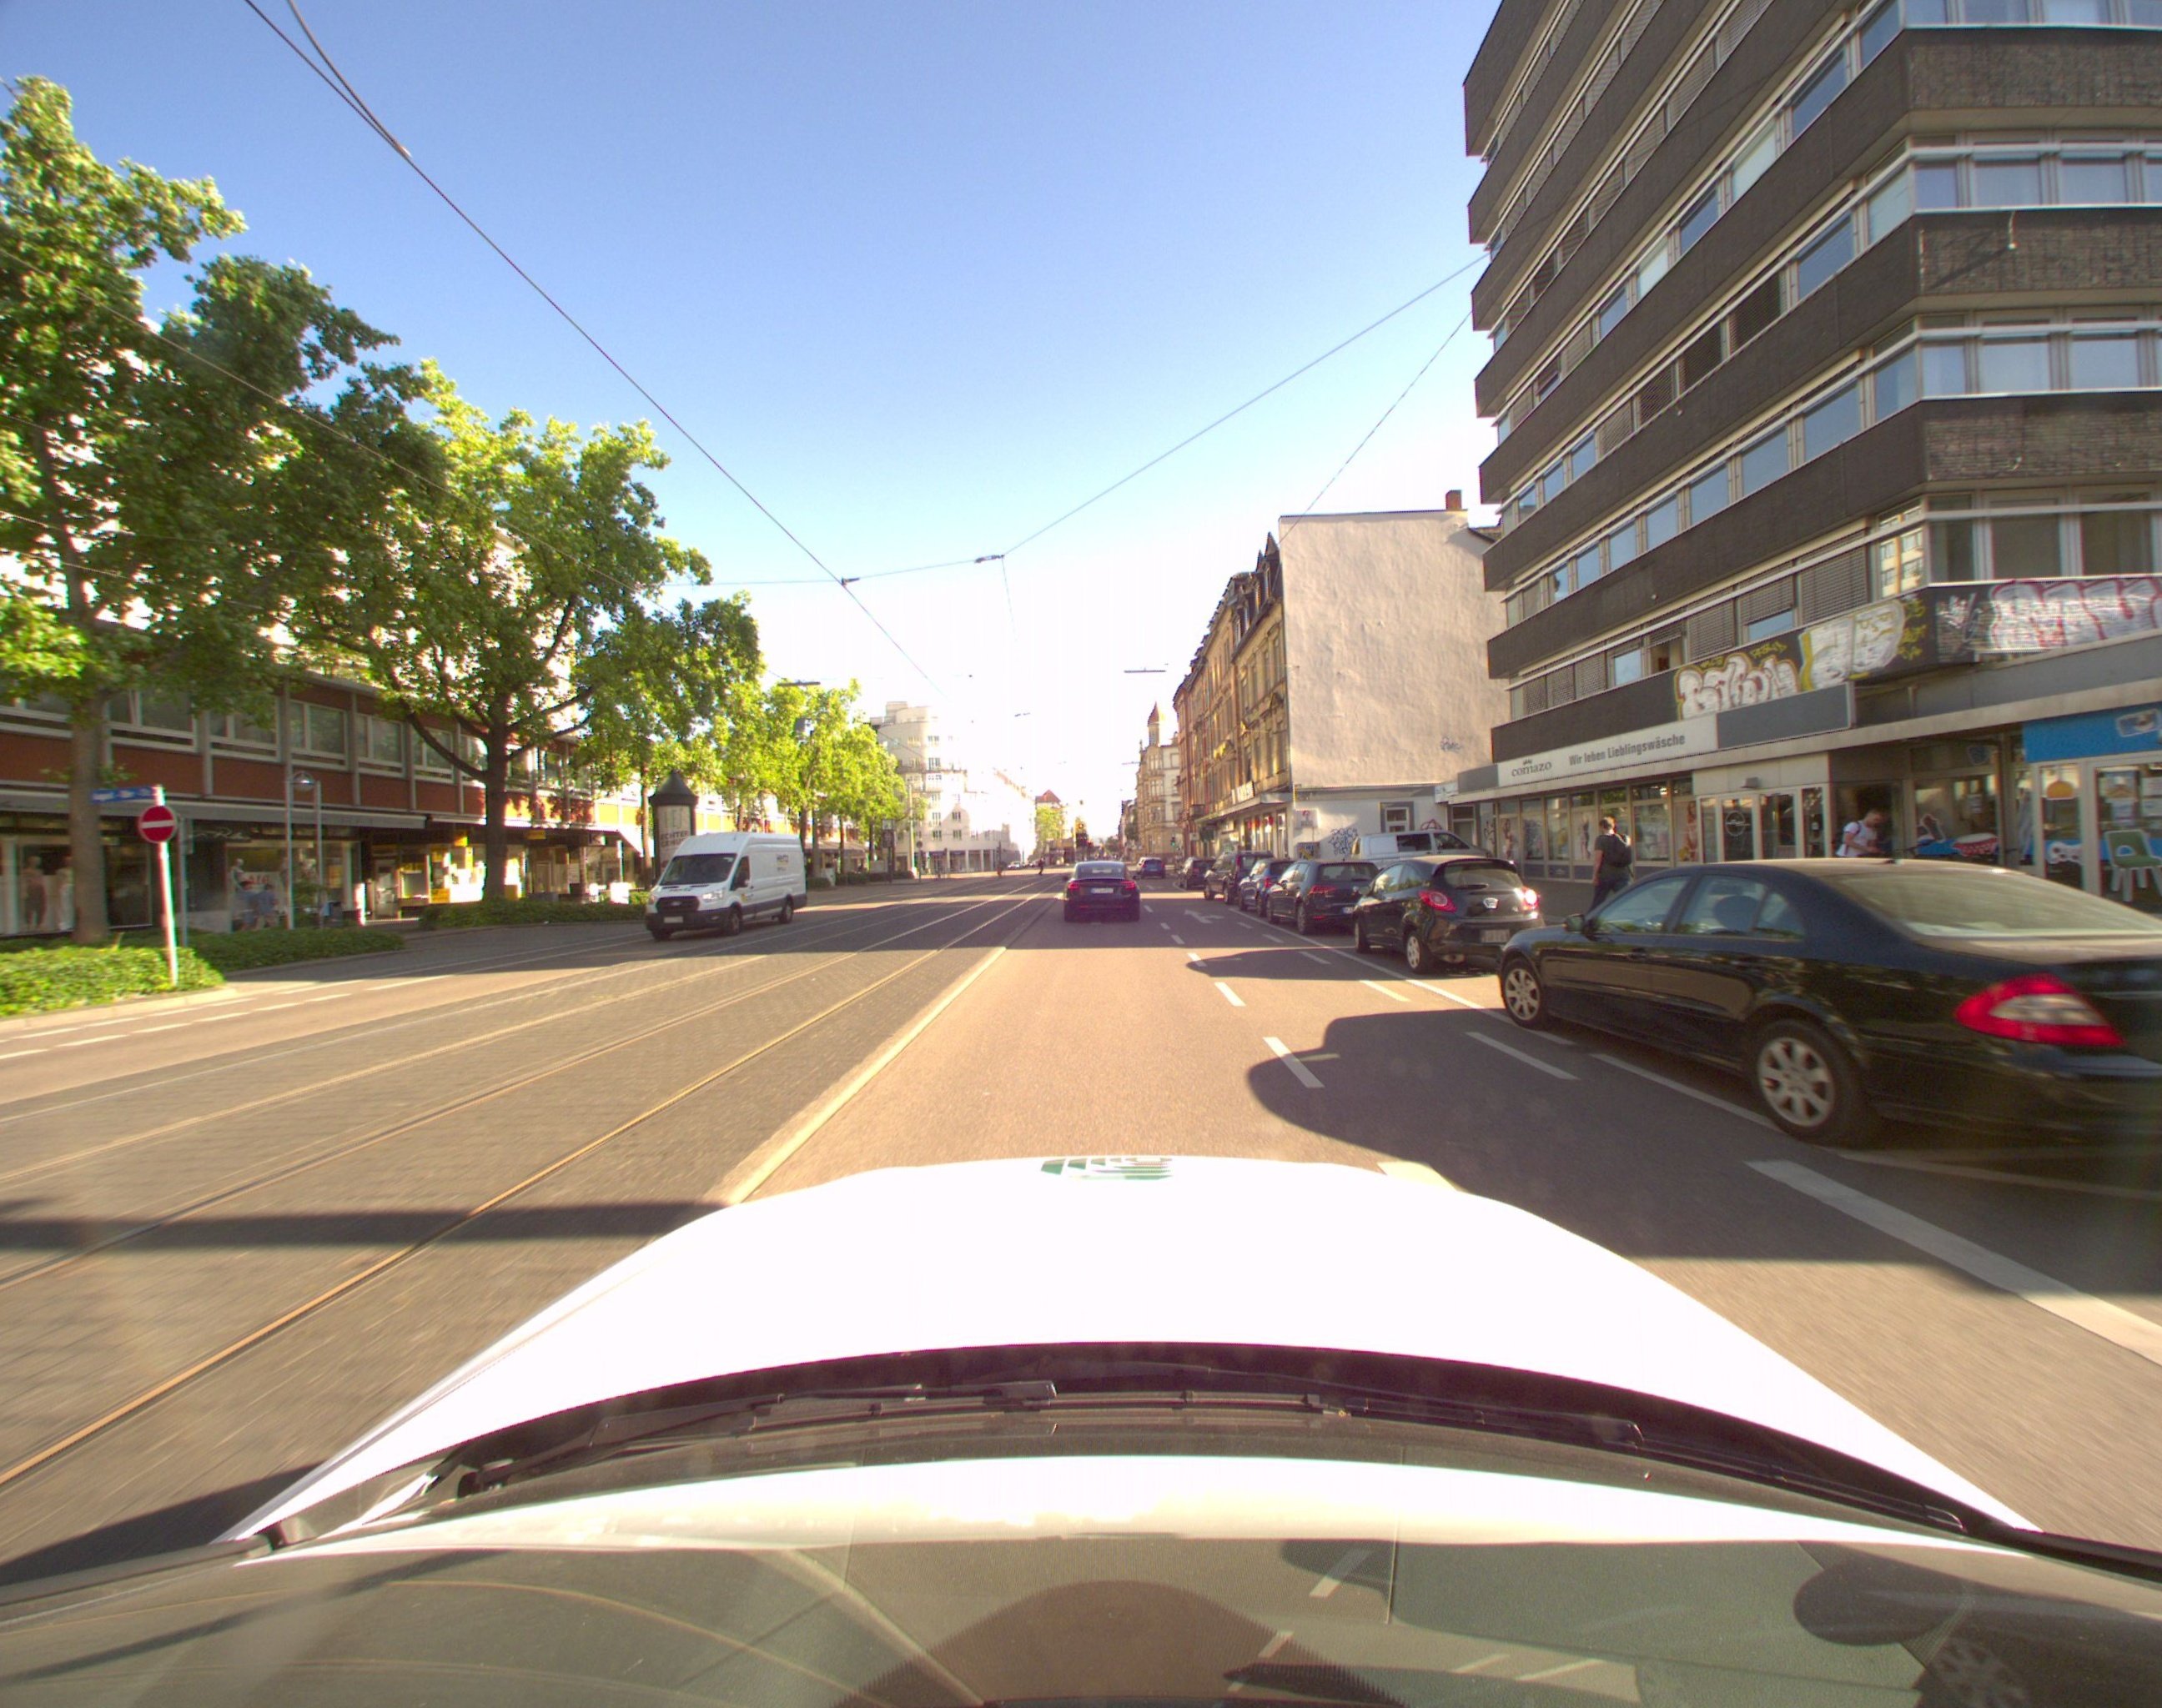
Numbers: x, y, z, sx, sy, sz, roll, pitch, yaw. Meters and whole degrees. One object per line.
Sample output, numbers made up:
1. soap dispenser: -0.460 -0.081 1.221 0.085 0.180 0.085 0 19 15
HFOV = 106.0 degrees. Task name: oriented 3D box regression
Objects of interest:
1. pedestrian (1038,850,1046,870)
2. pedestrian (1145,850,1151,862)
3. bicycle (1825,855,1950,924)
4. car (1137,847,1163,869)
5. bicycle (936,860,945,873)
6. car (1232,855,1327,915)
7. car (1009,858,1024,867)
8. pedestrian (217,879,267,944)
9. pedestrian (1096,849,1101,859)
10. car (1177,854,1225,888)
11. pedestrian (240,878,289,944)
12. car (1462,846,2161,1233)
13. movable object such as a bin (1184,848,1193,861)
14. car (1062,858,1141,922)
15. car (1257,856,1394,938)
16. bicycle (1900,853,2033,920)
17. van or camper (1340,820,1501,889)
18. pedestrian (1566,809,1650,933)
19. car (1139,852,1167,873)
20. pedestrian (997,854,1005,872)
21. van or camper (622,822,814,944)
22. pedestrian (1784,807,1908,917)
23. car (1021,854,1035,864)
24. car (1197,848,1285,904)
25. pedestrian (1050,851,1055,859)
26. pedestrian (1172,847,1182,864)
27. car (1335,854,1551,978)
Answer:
1. pedestrian: -3.553 0.510 74.287 0.556 1.763 0.895 -4 0 1
2. pedestrian: 10.066 0.279 121.870 0.777 1.749 1.093 -2 2 -1
3. bicycle: 12.750 0.555 12.885 1.566 0.921 0.339 -5 -1 0
4. car: 5.838 0.358 68.945 1.986 1.743 4.002 0 -1 2
5. bicycle: -13.658 1.168 79.199 0.496 1.186 2.235 -2 1 0
6. car: 5.246 0.770 21.962 1.707 1.454 3.779 0 0 1
7. car: -10.810 1.409 136.773 1.987 1.451 4.502 -2 1 0
8. pedestrian: -23.481 1.593 22.802 0.570 1.750 0.707 -2 0 3
9. pedestrian: 3.311 -0.014 157.864 0.710 1.777 0.569 -2 0 37
10. car: 5.518 0.736 37.986 1.684 1.450 4.361 0 1 1
11. pedestrian: -22.795 1.580 22.750 0.570 1.772 0.707 -2 0 3
12. car: 4.591 0.744 5.603 1.722 1.483 4.930 0 -1 1
13. movable object such as a bin: 9.546 0.048 72.176 0.660 1.072 0.591 -5 0 3
14. car: 0.527 0.843 20.863 1.804 1.424 4.155 0 0 1
15. car: 4.939 0.797 17.060 1.692 1.483 4.228 0 0 1
16. bicycle: 13.298 0.488 12.243 1.565 0.921 0.339 -3 -1 0
17. van or camper: 11.703 0.017 28.363 4.670 1.933 2.003 -5 0 5
18. pedestrian: 8.429 0.263 13.074 0.681 1.911 1.064 0 -1 4
19. car: 5.037 0.576 57.465 1.774 1.451 3.656 0 1 2
20. pedestrian: -7.052 0.819 71.508 0.498 1.517 0.859 -4 0 1
21. van or camper: -9.564 0.637 22.381 2.030 2.738 7.018 -3 1 -1
22. pedestrian: 12.546 0.138 13.389 1.006 1.648 0.917 -6 -1 2
23. car: -10.610 1.026 163.415 2.219 1.911 4.609 -2 0 1
24. car: 5.261 0.653 27.422 1.688 1.713 4.607 0 0 -5
25. pedestrian: -5.614 0.266 160.582 0.729 1.527 0.743 -2 1 0
26. pedestrian: 9.082 0.166 77.108 0.684 1.607 0.725 -2 0 -22
27. car: 4.942 0.753 11.644 1.565 1.483 3.558 0 0 1
